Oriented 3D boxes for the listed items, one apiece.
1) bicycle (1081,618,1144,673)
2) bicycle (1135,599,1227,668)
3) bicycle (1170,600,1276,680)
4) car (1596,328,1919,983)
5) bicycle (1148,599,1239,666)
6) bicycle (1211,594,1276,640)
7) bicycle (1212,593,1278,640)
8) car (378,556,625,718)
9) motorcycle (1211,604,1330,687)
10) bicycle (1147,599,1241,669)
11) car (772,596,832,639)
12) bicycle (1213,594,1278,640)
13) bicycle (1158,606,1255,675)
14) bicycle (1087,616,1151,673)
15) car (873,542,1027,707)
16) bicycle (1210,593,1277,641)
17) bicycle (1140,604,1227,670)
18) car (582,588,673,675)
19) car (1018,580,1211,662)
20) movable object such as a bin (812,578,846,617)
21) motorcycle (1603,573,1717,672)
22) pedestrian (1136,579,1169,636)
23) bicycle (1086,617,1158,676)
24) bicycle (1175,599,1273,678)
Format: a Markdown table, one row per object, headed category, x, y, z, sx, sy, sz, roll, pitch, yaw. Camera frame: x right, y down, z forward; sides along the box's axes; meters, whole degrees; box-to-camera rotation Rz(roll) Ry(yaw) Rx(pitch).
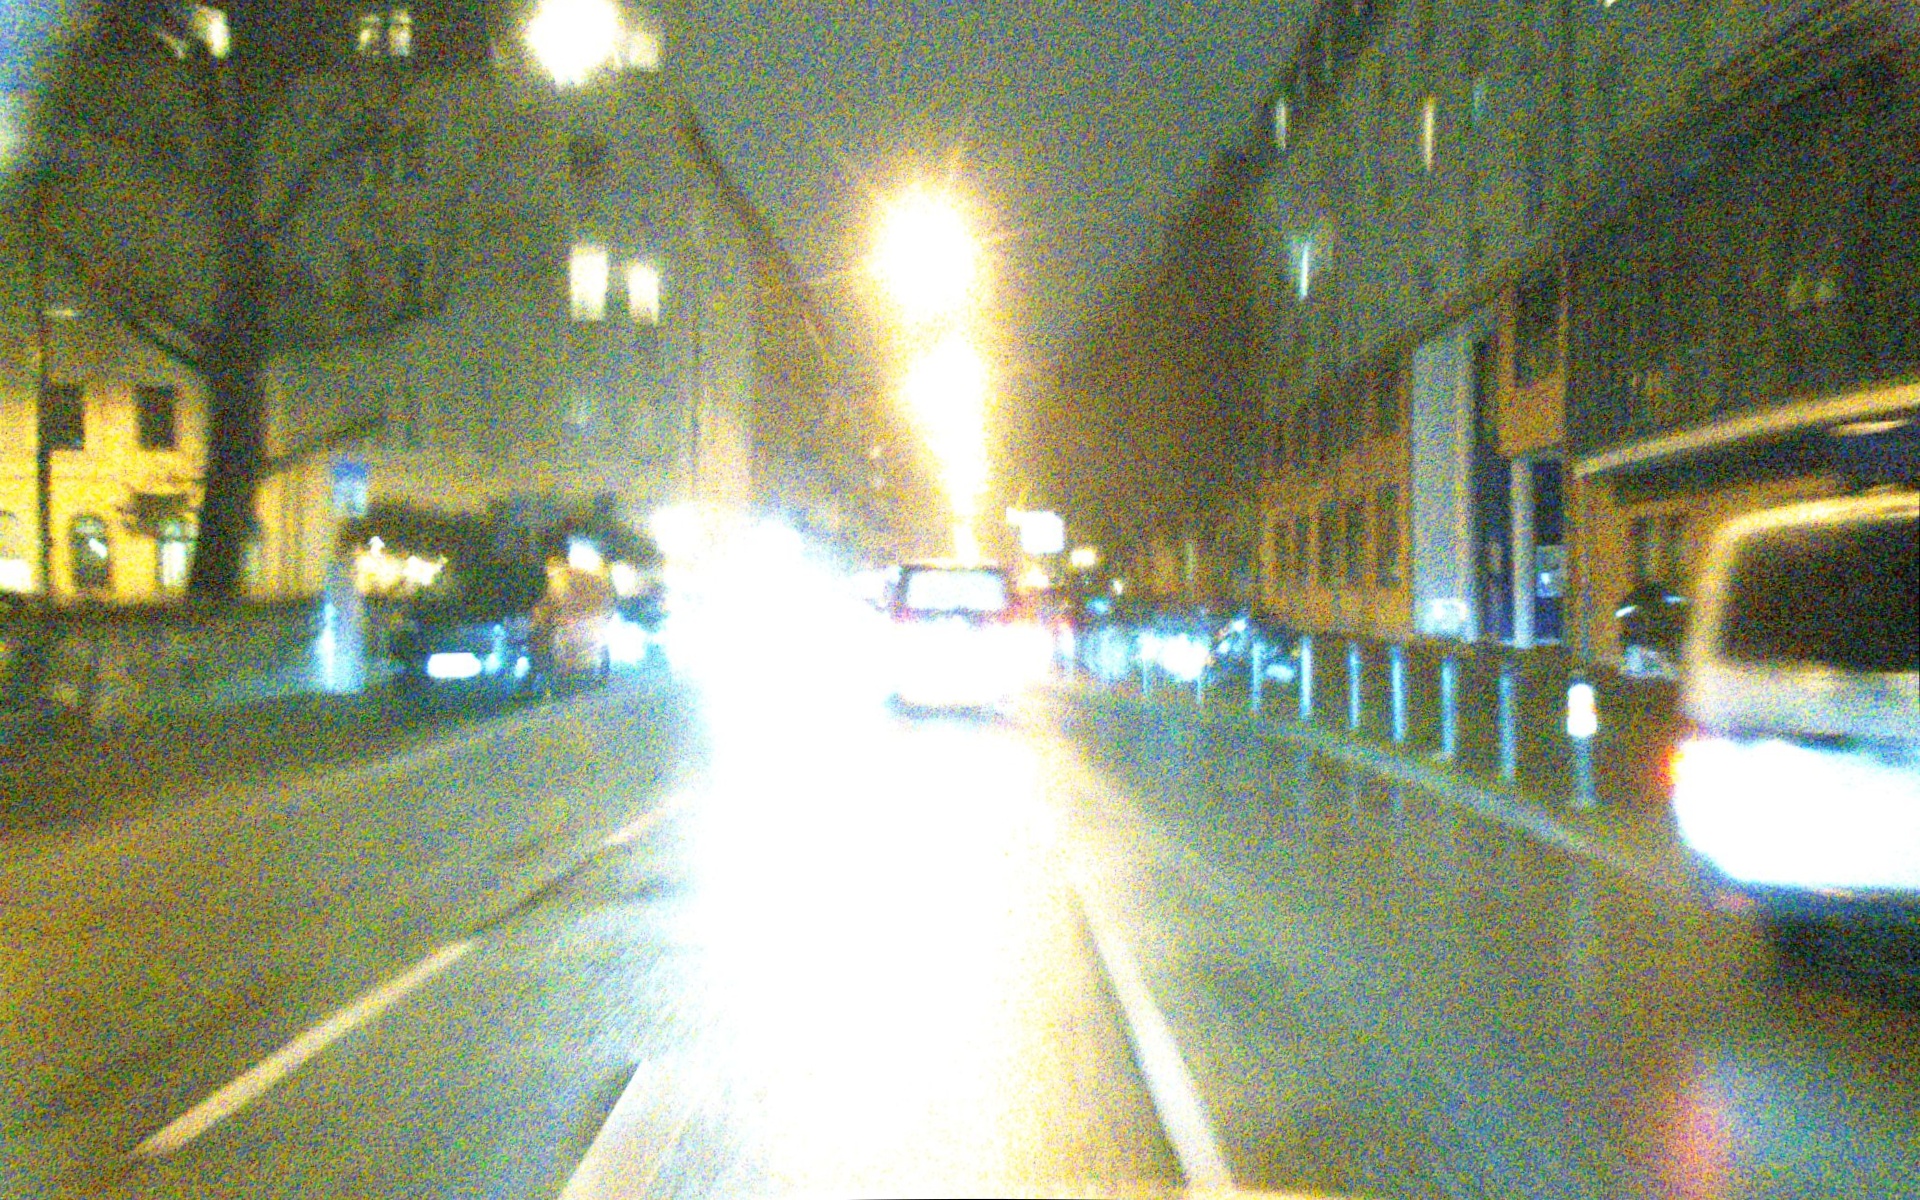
| category | x | y | z | sx | sy | sz | roll | pitch | yaw |
| --- | --- | --- | --- | --- | --- | --- | --- | --- | --- |
| bicycle | 2.816 | 0.838 | 30.542 | 1.109 | 0.964 | 0.267 | -2 | 0 | -3 |
| bicycle | 3.959 | 0.594 | 29.665 | 1.564 | 1.178 | 0.417 | -1 | 0 | -4 |
| bicycle | 4.247 | 0.642 | 26.770 | 1.629 | 1.255 | 0.385 | -1 | 0 | 2 |
| car | 5.362 | 0.183 | 7.596 | 4.883 | 2.382 | 2.205 | -1 | 0 | -35 |
| bicycle | 4.267 | 0.585 | 30.253 | 1.564 | 1.178 | 0.417 | -1 | 0 | -4 |
| bicycle | 7.810 | 0.462 | 45.508 | 1.653 | 1.166 | 0.485 | -3 | 0 | -8 |
| bicycle | 7.648 | 0.432 | 44.397 | 1.654 | 1.166 | 0.428 | -3 | 0 | -8 |
| car | -5.836 | 0.424 | 21.701 | 1.828 | 1.878 | 4.827 | 0 | 0 | 1 |
| motorcycle | 4.634 | 0.670 | 24.737 | 1.601 | 1.143 | 0.652 | -2 | 0 | -7 |
| bicycle | 4.132 | 0.600 | 29.232 | 1.564 | 1.178 | 0.417 | -1 | 0 | -4 |
| car | -5.411 | 0.576 | 56.964 | 1.620 | 1.383 | 4.222 | 1 | 0 | 0 |
| bicycle | 7.753 | 0.460 | 44.973 | 1.654 | 1.166 | 0.428 | -3 | 0 | -8 |
| bicycle | 4.228 | 0.687 | 28.398 | 1.564 | 1.131 | 0.417 | -1 | 0 | -4 |
| bicycle | 2.905 | 0.815 | 30.235 | 1.109 | 0.991 | 0.249 | -2 | 0 | -3 |
| car | -0.114 | 0.338 | 23.155 | 1.952 | 2.086 | 4.000 | 1 | -1 | 0 |
| bicycle | 7.514 | 0.448 | 43.774 | 1.654 | 1.166 | 0.428 | -3 | 0 | -8 |
| bicycle | 4.169 | 0.681 | 30.873 | 1.561 | 1.178 | 0.540 | -1 | 0 | 8 |
| car | -6.205 | 0.548 | 30.909 | 1.519 | 1.468 | 3.553 | 2 | 0 | -11 |
| car | 3.224 | 0.418 | 34.474 | 3.654 | 1.549 | 1.644 | -2 | 0 | -25 |
| movable object such as a bin | -5.151 | -0.095 | 65.191 | 1.183 | 1.485 | 1.107 | 2 | 0 | 2 |
| motorcycle | 9.918 | 0.301 | 23.531 | 0.513 | 1.342 | 2.122 | 1 | 0 | -6 |
| pedestrian | 6.617 | 0.267 | 56.816 | 0.822 | 1.867 | 0.946 | -4 | -1 | -4 |
| bicycle | 2.739 | 0.786 | 27.994 | 1.187 | 0.964 | 0.302 | 1 | 0 | -4 |
| bicycle | 4.348 | 0.627 | 27.289 | 1.547 | 1.255 | 0.418 | -1 | 0 | 2 |
